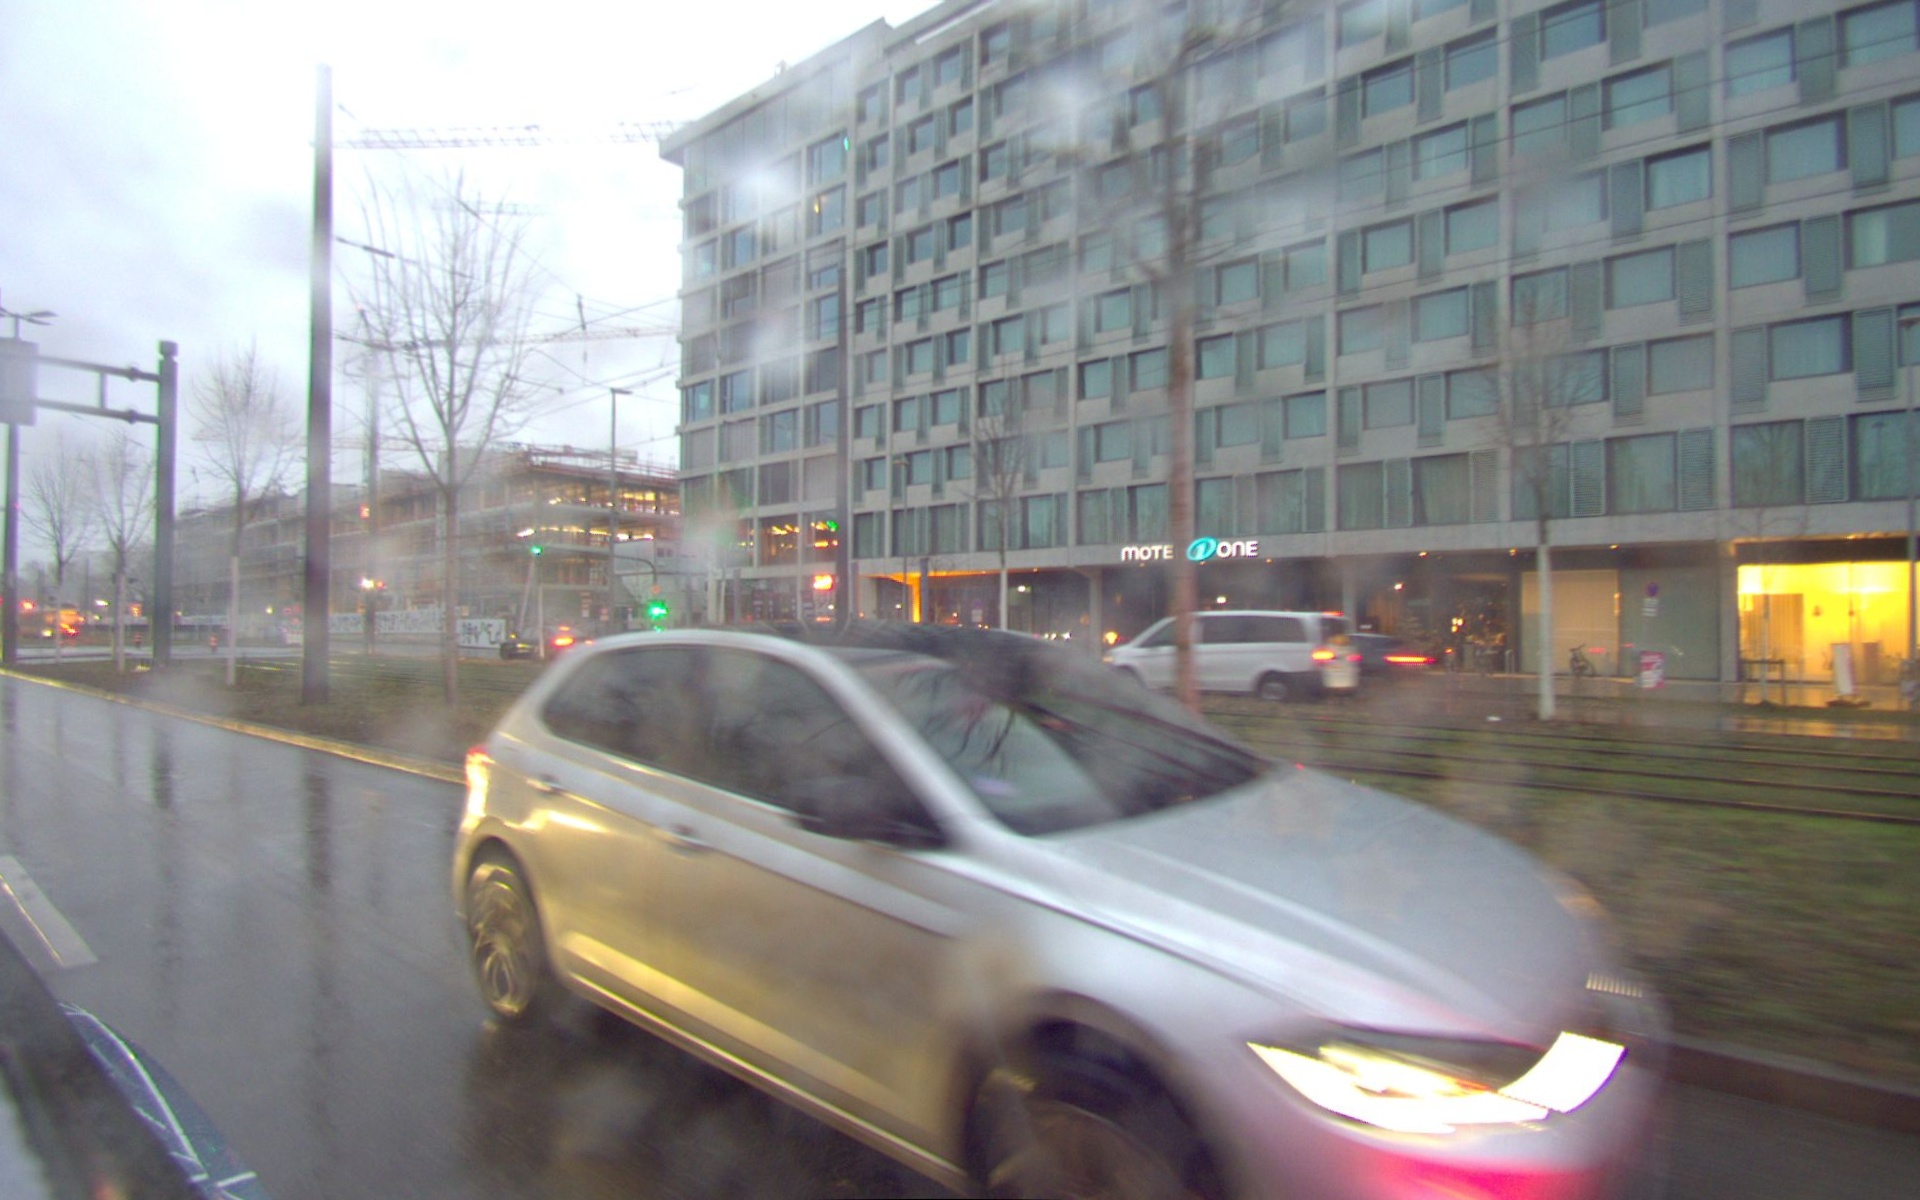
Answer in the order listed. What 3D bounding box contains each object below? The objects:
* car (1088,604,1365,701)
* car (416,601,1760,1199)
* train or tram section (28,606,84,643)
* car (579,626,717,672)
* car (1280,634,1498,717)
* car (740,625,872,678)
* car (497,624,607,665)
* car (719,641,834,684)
[{"bbox_3d":[5.264,1.007,20.473,5.112,1.732,1.877,-1,-2,39],"label":"car"},{"bbox_3d":[-0.013,0.717,3.242,3.979,1.381,1.744,-1,-1,41],"label":"car"},{"bbox_3d":[-93.143,2.562,104.200,14.265,3.513,2.925,-2,-3,43],"label":"train or tram section"},{"bbox_3d":[-10.837,1.653,35.111,4.425,1.508,1.983,-1,-2,26],"label":"car"},{"bbox_3d":[10.345,1.747,24.609,4.527,1.827,1.876,-1,-2,41],"label":"car"},{"bbox_3d":[-4.538,1.464,29.684,3.704,1.442,1.876,-1,-2,40],"label":"car"},{"bbox_3d":[-15.961,1.699,39.463,5.032,1.479,1.972,-1,-2,42],"label":"car"},{"bbox_3d":[-7.226,2.384,39.633,4.790,1.528,1.876,-1,-2,41],"label":"car"}]
